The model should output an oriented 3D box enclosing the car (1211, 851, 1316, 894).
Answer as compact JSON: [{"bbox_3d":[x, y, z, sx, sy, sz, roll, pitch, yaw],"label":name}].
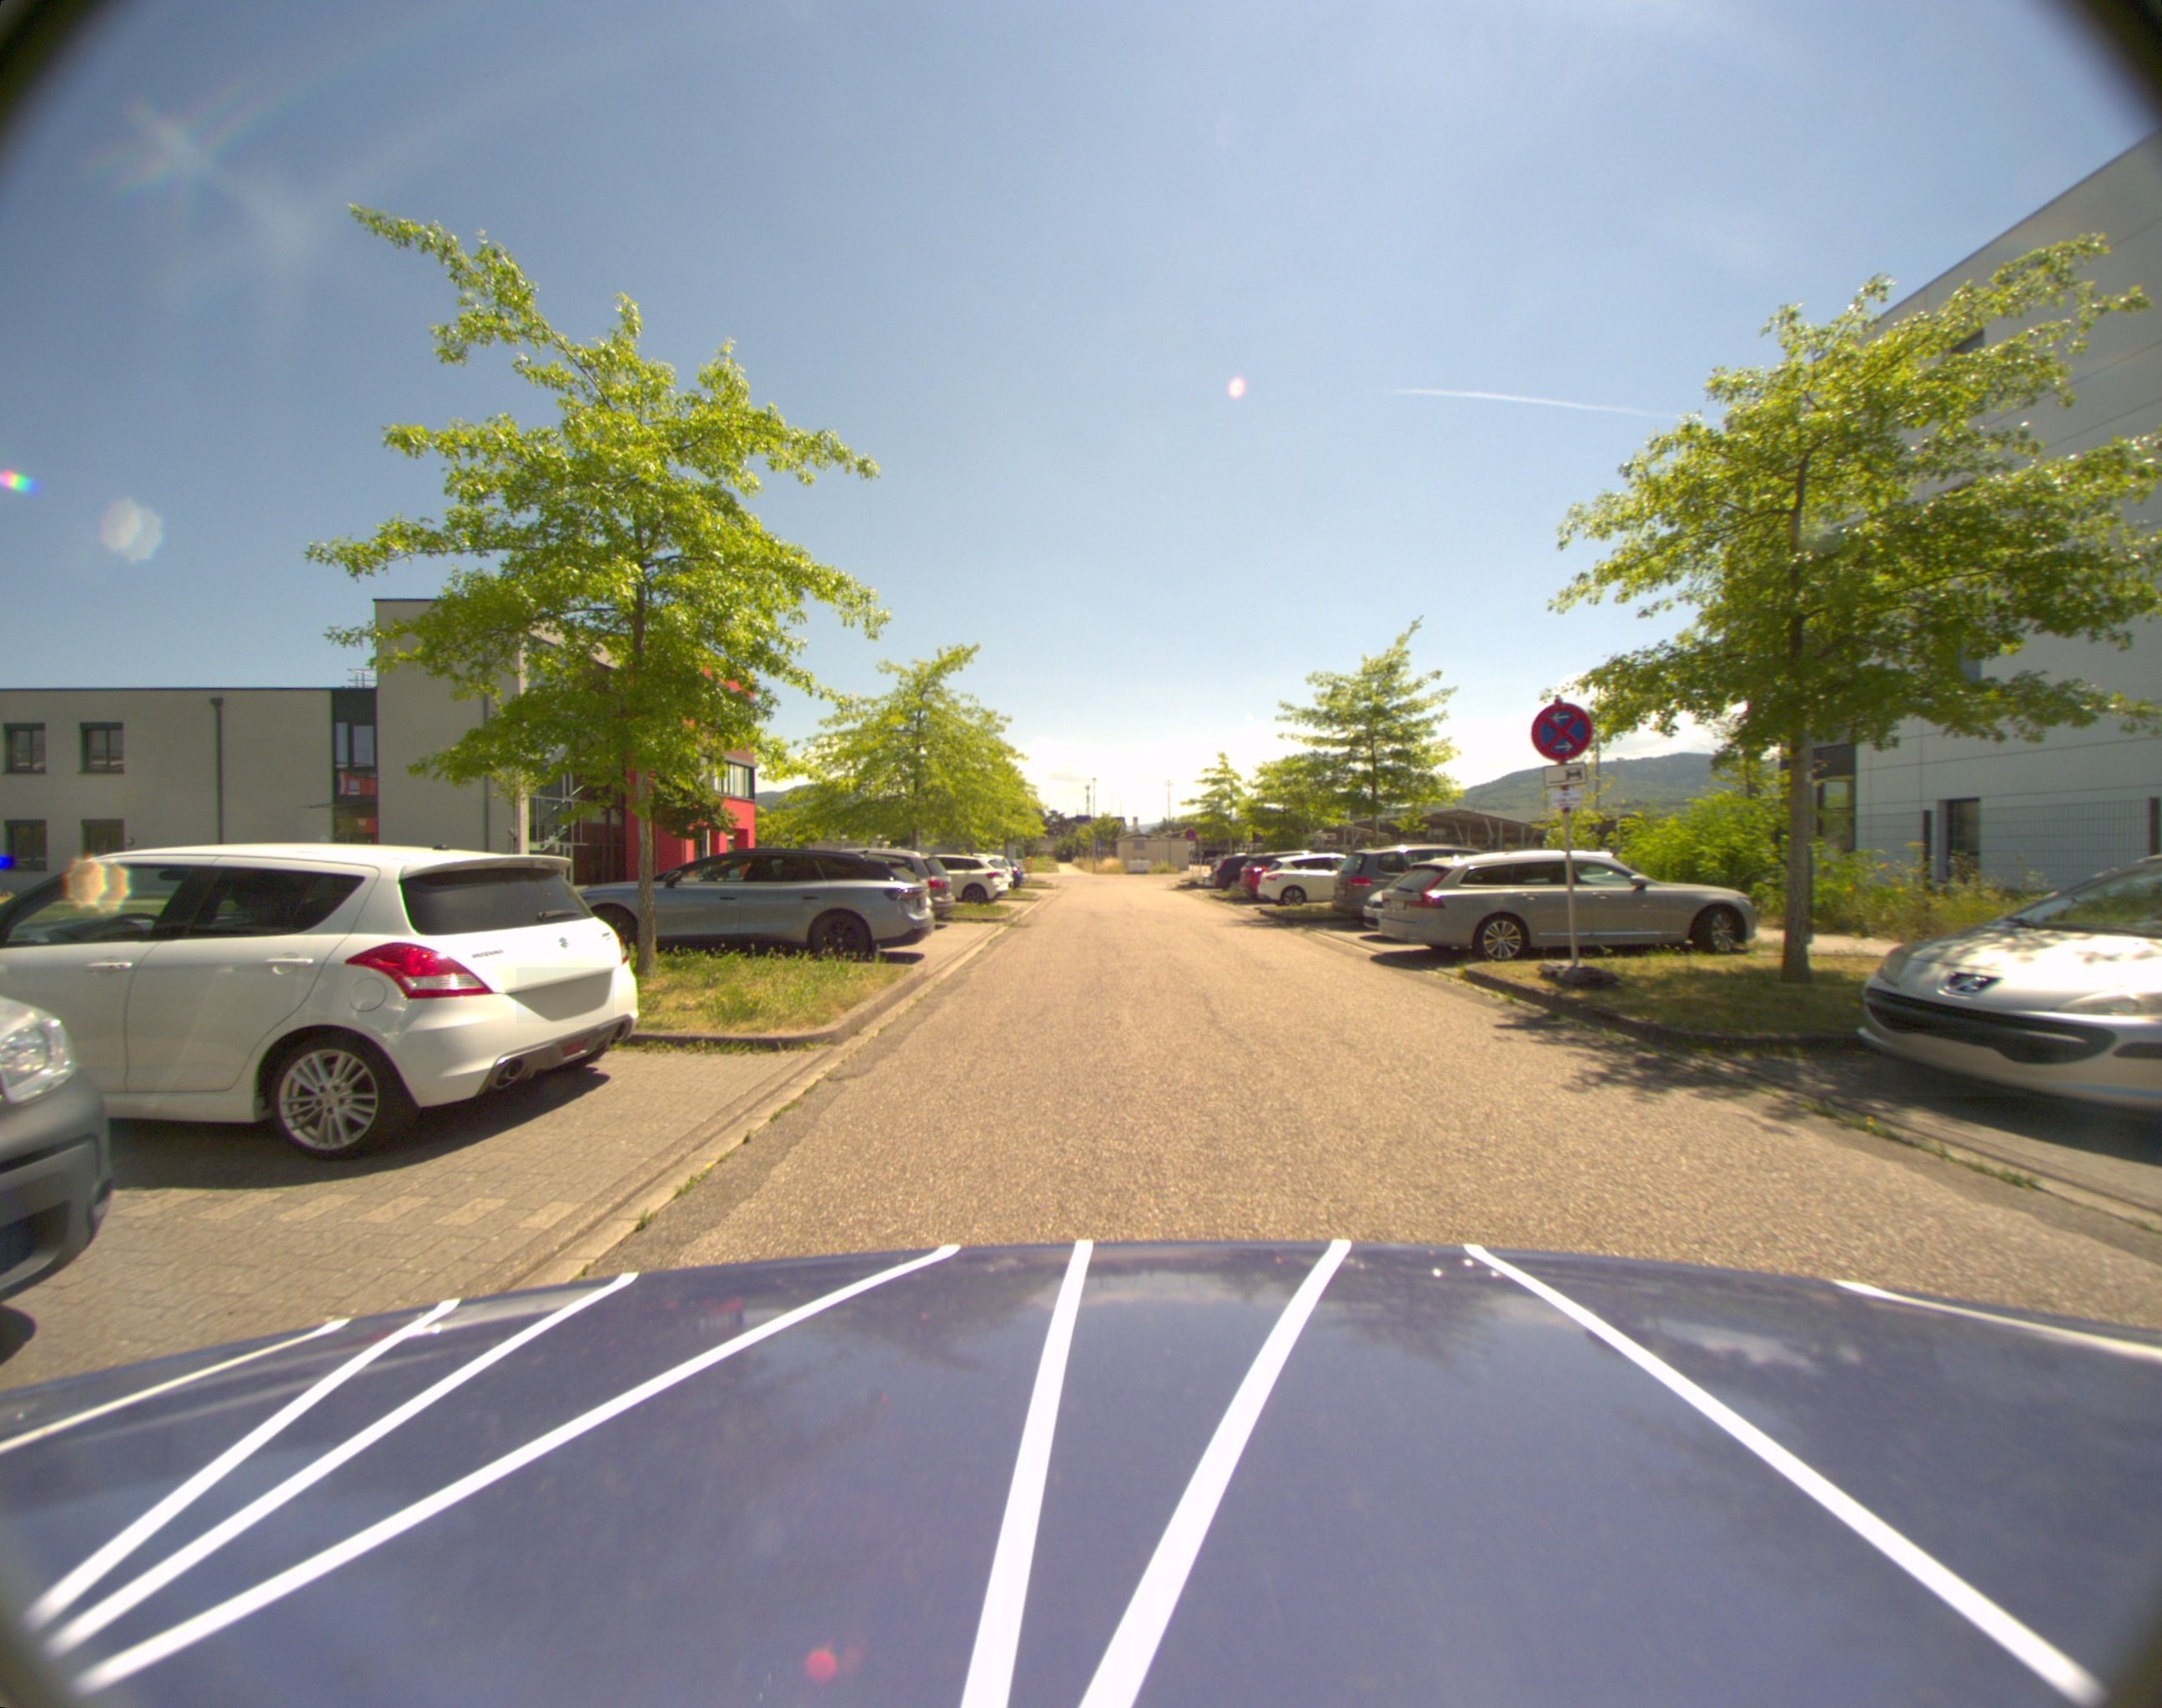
[{"bbox_3d":[7.407,0.743,31.183,3.915,1.582,1.728,-2,0,5],"label":"car"}]

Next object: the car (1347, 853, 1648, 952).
[{"bbox_3d":[7.141,0.799,13.325,4.322,1.464,1.727,-2,0,-1],"label":"car"}]

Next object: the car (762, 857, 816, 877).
[{"bbox_3d":[-23.441,1.032,61.104,3.626,1.492,1.658,-1,3,-2],"label":"car"}]

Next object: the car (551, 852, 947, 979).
[{"bbox_3d":[-4.411,0.799,10.734,4.729,1.552,1.913,1,0,-3],"label":"car"}]

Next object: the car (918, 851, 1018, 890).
[{"bbox_3d":[-4.979,0.720,33.860,4.119,1.640,1.774,0,0,3],"label":"car"}]

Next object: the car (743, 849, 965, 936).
[{"bbox_3d":[-4.595,0.754,15.776,4.056,1.615,1.693,1,0,1],"label":"car"}]

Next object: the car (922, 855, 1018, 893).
[{"bbox_3d":[-4.518,0.804,31.260,3.626,1.454,1.611,1,0,3],"label":"car"}]

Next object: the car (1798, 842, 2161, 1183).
[{"bbox_3d":[6.902,0.672,4.280,3.978,1.475,1.764,-3,0,1],"label":"car"}]

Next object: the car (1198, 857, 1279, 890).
[{"bbox_3d":[7.513,0.907,36.463,3.513,1.433,1.727,-2,0,0],"label":"car"}]

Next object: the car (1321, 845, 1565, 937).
[{"bbox_3d":[7.277,0.725,15.593,4.127,1.625,1.728,-2,0,3],"label":"car"}]

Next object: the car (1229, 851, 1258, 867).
[{"bbox_3d":[15.212,0.474,71.283,1.723,1.428,3.775,0,0,-3],"label":"car"}]

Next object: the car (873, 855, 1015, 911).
[{"bbox_3d":[-4.033,0.836,22.723,3.842,1.544,1.780,0,0,6],"label":"car"}]

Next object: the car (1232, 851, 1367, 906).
[{"bbox_3d":[7.066,0.786,24.774,3.849,1.582,1.727,-2,0,-1],"label":"car"}]

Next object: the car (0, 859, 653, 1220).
[{"bbox_3d":[-4.685,0.826,4.240,3.640,1.494,1.676,1,1,2],"label":"car"}]

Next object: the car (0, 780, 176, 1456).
[{"bbox_3d":[-5.115,0.666,1.588,4.413,1.819,1.796,1,1,2],"label":"car"}]

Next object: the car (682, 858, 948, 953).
[{"bbox_3d":[-4.530,0.848,13.321,4.056,1.444,1.646,1,0,1],"label":"car"}]

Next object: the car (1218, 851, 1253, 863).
[{"bbox_3d":[18.597,0.327,91.376,3.774,1.428,1.723,0,0,-3],"label":"car"}]

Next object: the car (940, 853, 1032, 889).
[{"bbox_3d":[-4.474,0.794,36.153,4.004,1.481,1.728,2,0,5],"label":"car"}]

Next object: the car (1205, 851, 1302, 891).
[{"bbox_3d":[7.638,0.747,33.929,3.848,1.584,1.829,-2,0,-2],"label":"car"}]

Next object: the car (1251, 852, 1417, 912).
[{"bbox_3d":[7.224,0.807,22.050,4.182,1.504,1.808,-2,-1,2],"label":"car"}]

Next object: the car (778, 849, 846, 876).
[{"bbox_3d":[-18.552,0.609,52.517,3.997,1.764,1.811,-1,-2,0],"label":"car"}]

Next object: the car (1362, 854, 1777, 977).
[{"bbox_3d":[6.761,0.810,10.897,4.725,1.439,1.857,-2,0,0],"label":"car"}]
